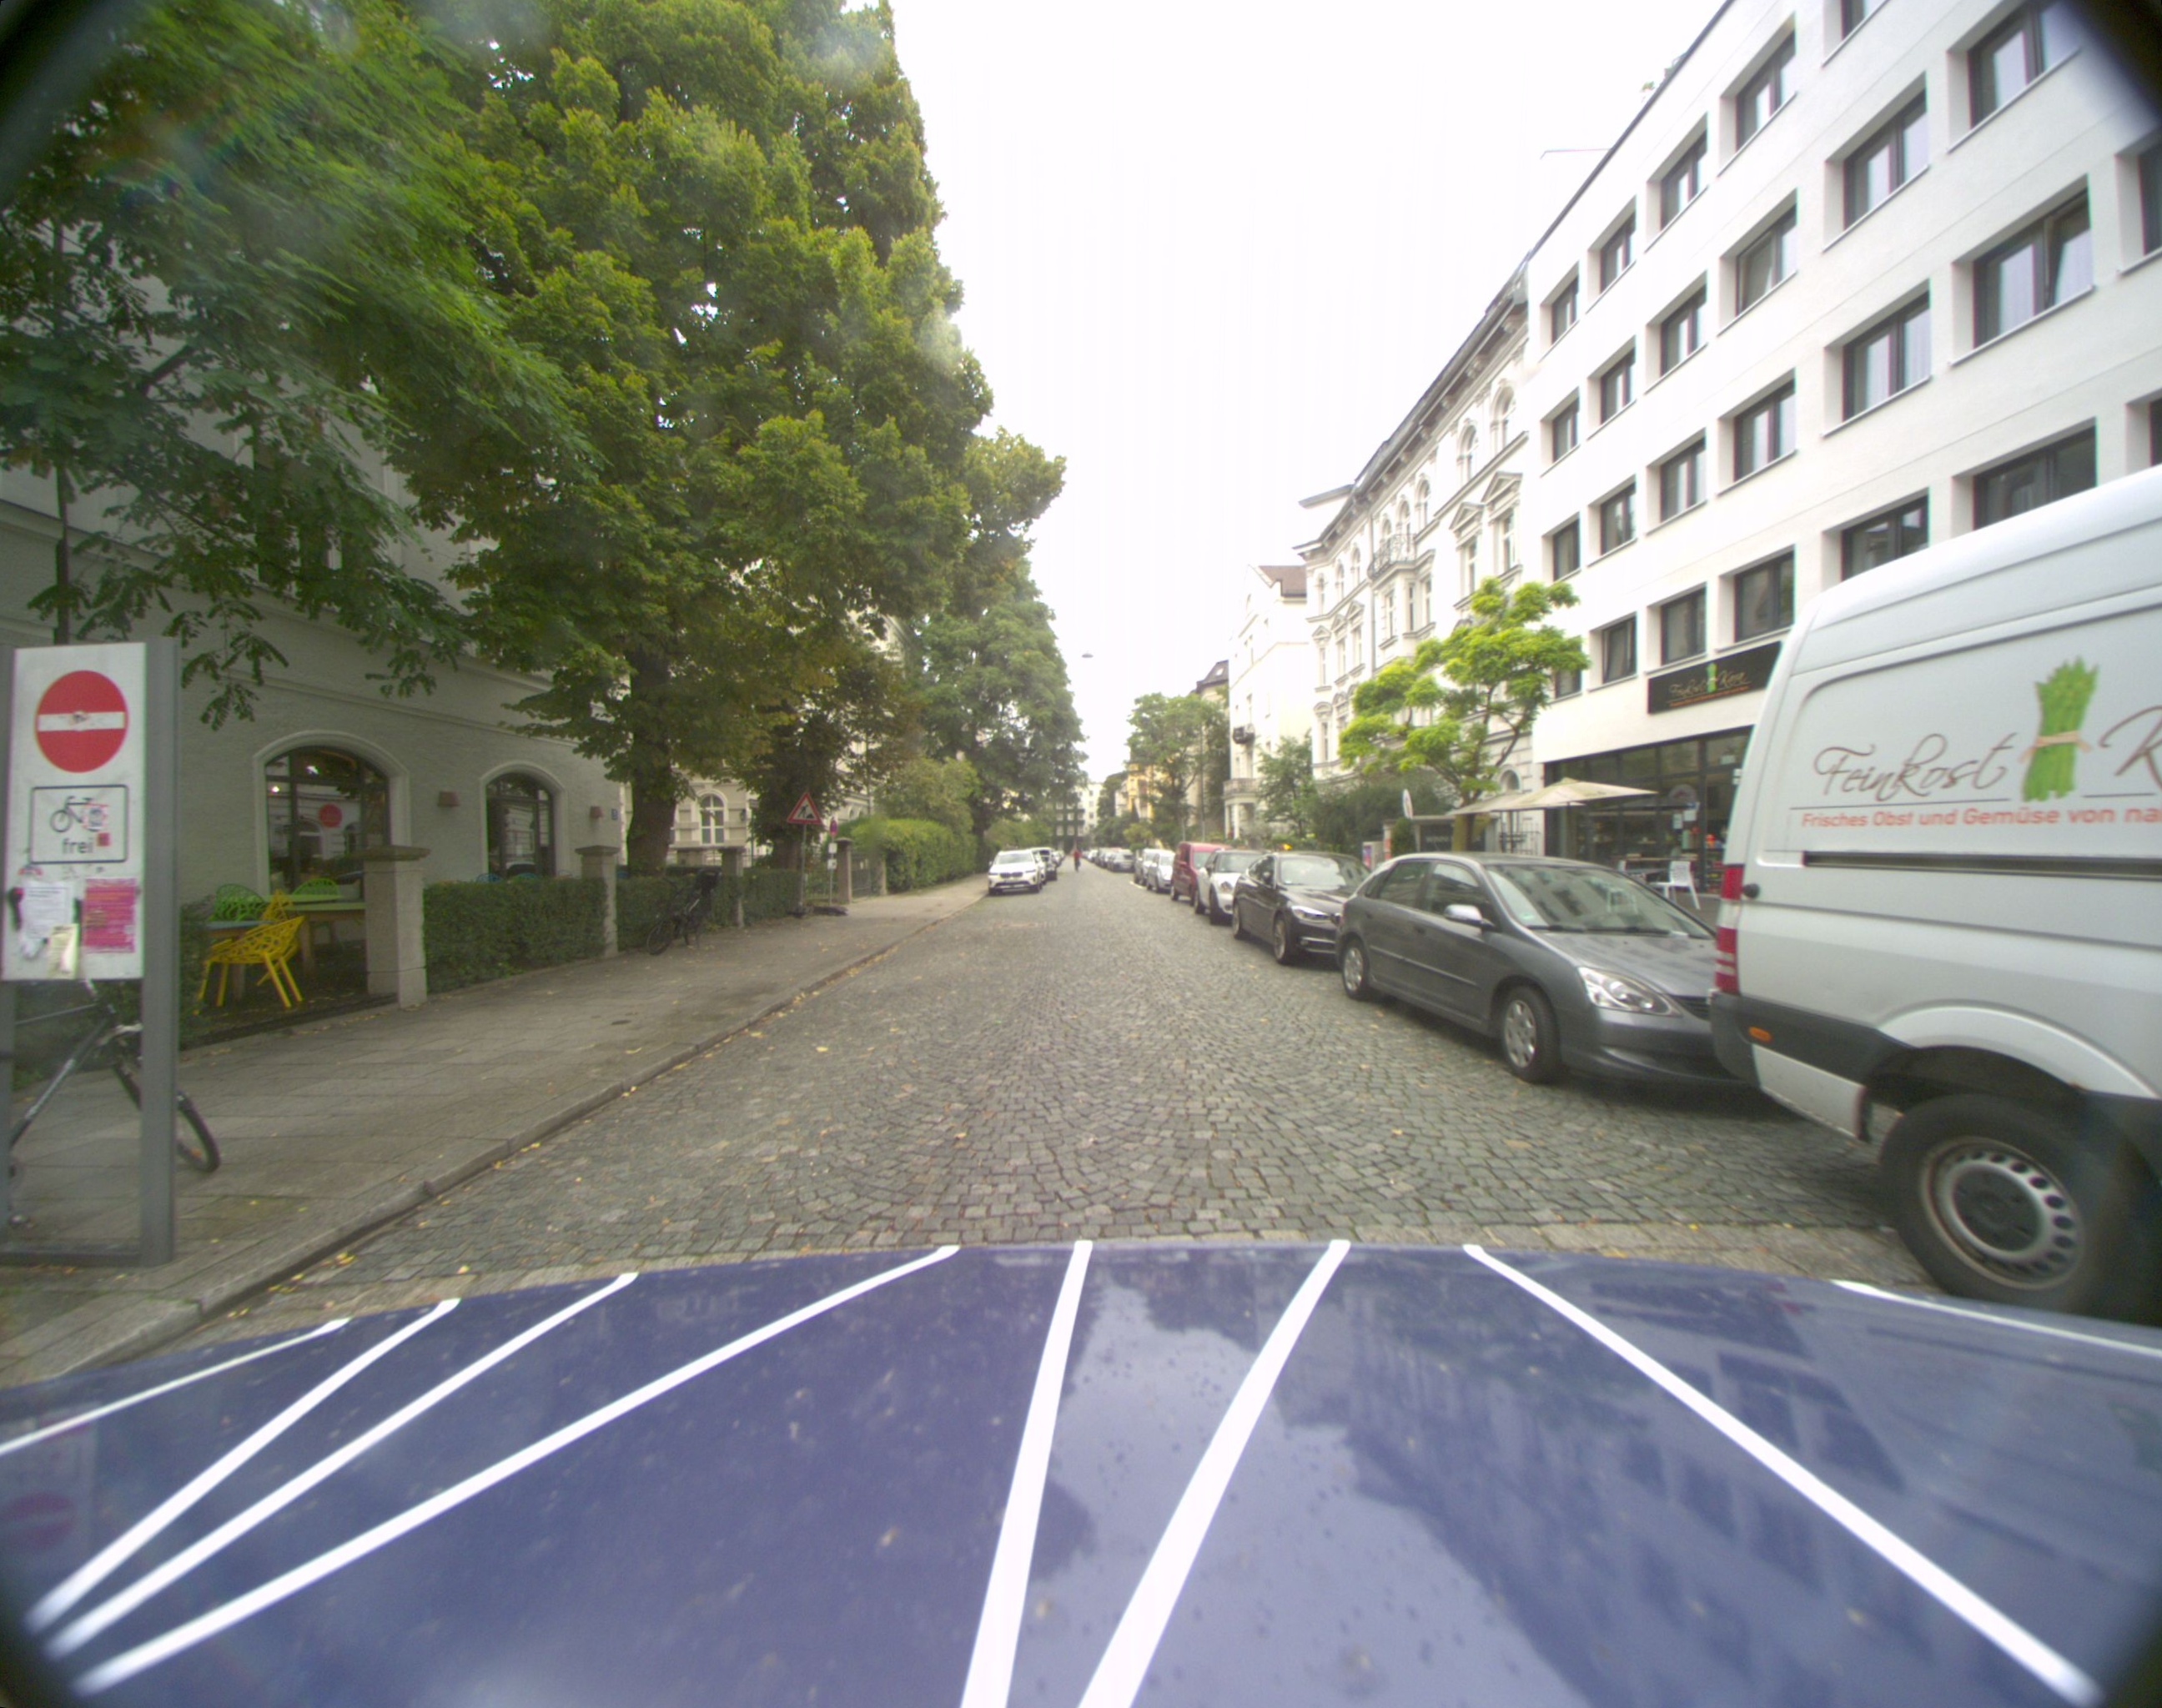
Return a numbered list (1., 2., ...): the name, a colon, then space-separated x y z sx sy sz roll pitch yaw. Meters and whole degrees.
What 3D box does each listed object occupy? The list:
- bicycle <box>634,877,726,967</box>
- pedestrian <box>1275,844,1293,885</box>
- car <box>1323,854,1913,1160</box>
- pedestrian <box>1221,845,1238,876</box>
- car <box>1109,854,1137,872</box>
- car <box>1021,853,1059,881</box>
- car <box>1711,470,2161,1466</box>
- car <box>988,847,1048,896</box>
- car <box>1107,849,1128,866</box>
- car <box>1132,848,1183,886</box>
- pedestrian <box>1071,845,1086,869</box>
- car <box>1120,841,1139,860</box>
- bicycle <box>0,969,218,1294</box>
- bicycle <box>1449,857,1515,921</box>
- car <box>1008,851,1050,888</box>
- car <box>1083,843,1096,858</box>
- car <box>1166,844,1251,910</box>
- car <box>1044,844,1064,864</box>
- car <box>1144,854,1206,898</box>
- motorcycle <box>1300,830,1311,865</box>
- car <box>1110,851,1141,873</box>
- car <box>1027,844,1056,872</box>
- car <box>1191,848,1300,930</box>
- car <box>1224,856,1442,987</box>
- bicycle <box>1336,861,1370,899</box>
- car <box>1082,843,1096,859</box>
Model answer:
1. bicycle: -6.136 0.998 11.725 0.429 1.191 1.730 4 1 0
2. pedestrian: 8.203 0.424 30.740 0.577 1.637 0.822 0 1 6
3. car: 3.453 0.794 5.946 1.666 1.474 3.980 -2 1 -3
4. pedestrian: 7.841 0.331 40.093 0.665 1.618 0.670 -1 2 31
5. car: 3.333 0.670 61.036 1.998 1.324 3.999 -1 1 0
6. car: -2.208 0.674 41.917 1.924 1.291 4.807 -2 1 -1
7. car: 3.742 0.324 0.431 1.982 2.559 5.793 1 1 1
8. car: -2.395 0.625 29.858 1.925 1.676 4.632 -1 1 0
9. car: 3.234 0.292 67.897 1.714 1.417 3.999 -2 1 0
10. car: 3.392 0.535 34.244 1.694 1.563 4.066 -2 1 -2
11. pedestrian: -0.206 0.236 57.918 1.105 1.768 1.263 -2 1 0
12. car: 5.433 -0.385 85.532 1.763 2.002 3.999 -2 1 0
13. bicycle: -4.378 1.131 2.814 0.389 1.140 1.590 -1 1 6
14. bicycle: 8.090 0.674 15.395 0.361 1.168 1.911 -2 1 2
15. car: -2.465 0.683 36.804 1.752 1.591 4.470 -2 1 -1
16. car: 1.223 -0.533 109.115 1.791 2.002 3.214 -2 1 0
17. car: 3.561 0.576 21.840 1.722 1.713 3.897 0 1 -1
18. car: -2.856 -0.056 81.645 1.998 2.002 3.999 -2 1 0
19. car: 3.383 0.746 27.884 1.636 1.386 3.814 -2 1 -2
20. motorcycle: 7.813 -0.246 26.467 0.331 1.173 1.626 -1 1 15
21. car: 3.225 0.551 55.872 1.886 1.411 4.807 1 1 -1
22. car: -2.782 0.251 54.620 1.819 1.809 4.807 -5 1 -1
23. car: 3.402 0.651 16.332 1.697 1.495 3.777 -2 1 3
24. car: 3.408 0.808 11.250 1.730 1.456 4.472 1 1 0
25. bicycle: 8.112 0.766 22.687 0.258 1.072 1.685 -2 0 -5
26. car: 1.080 -0.437 99.494 1.763 2.002 3.999 -2 1 0
